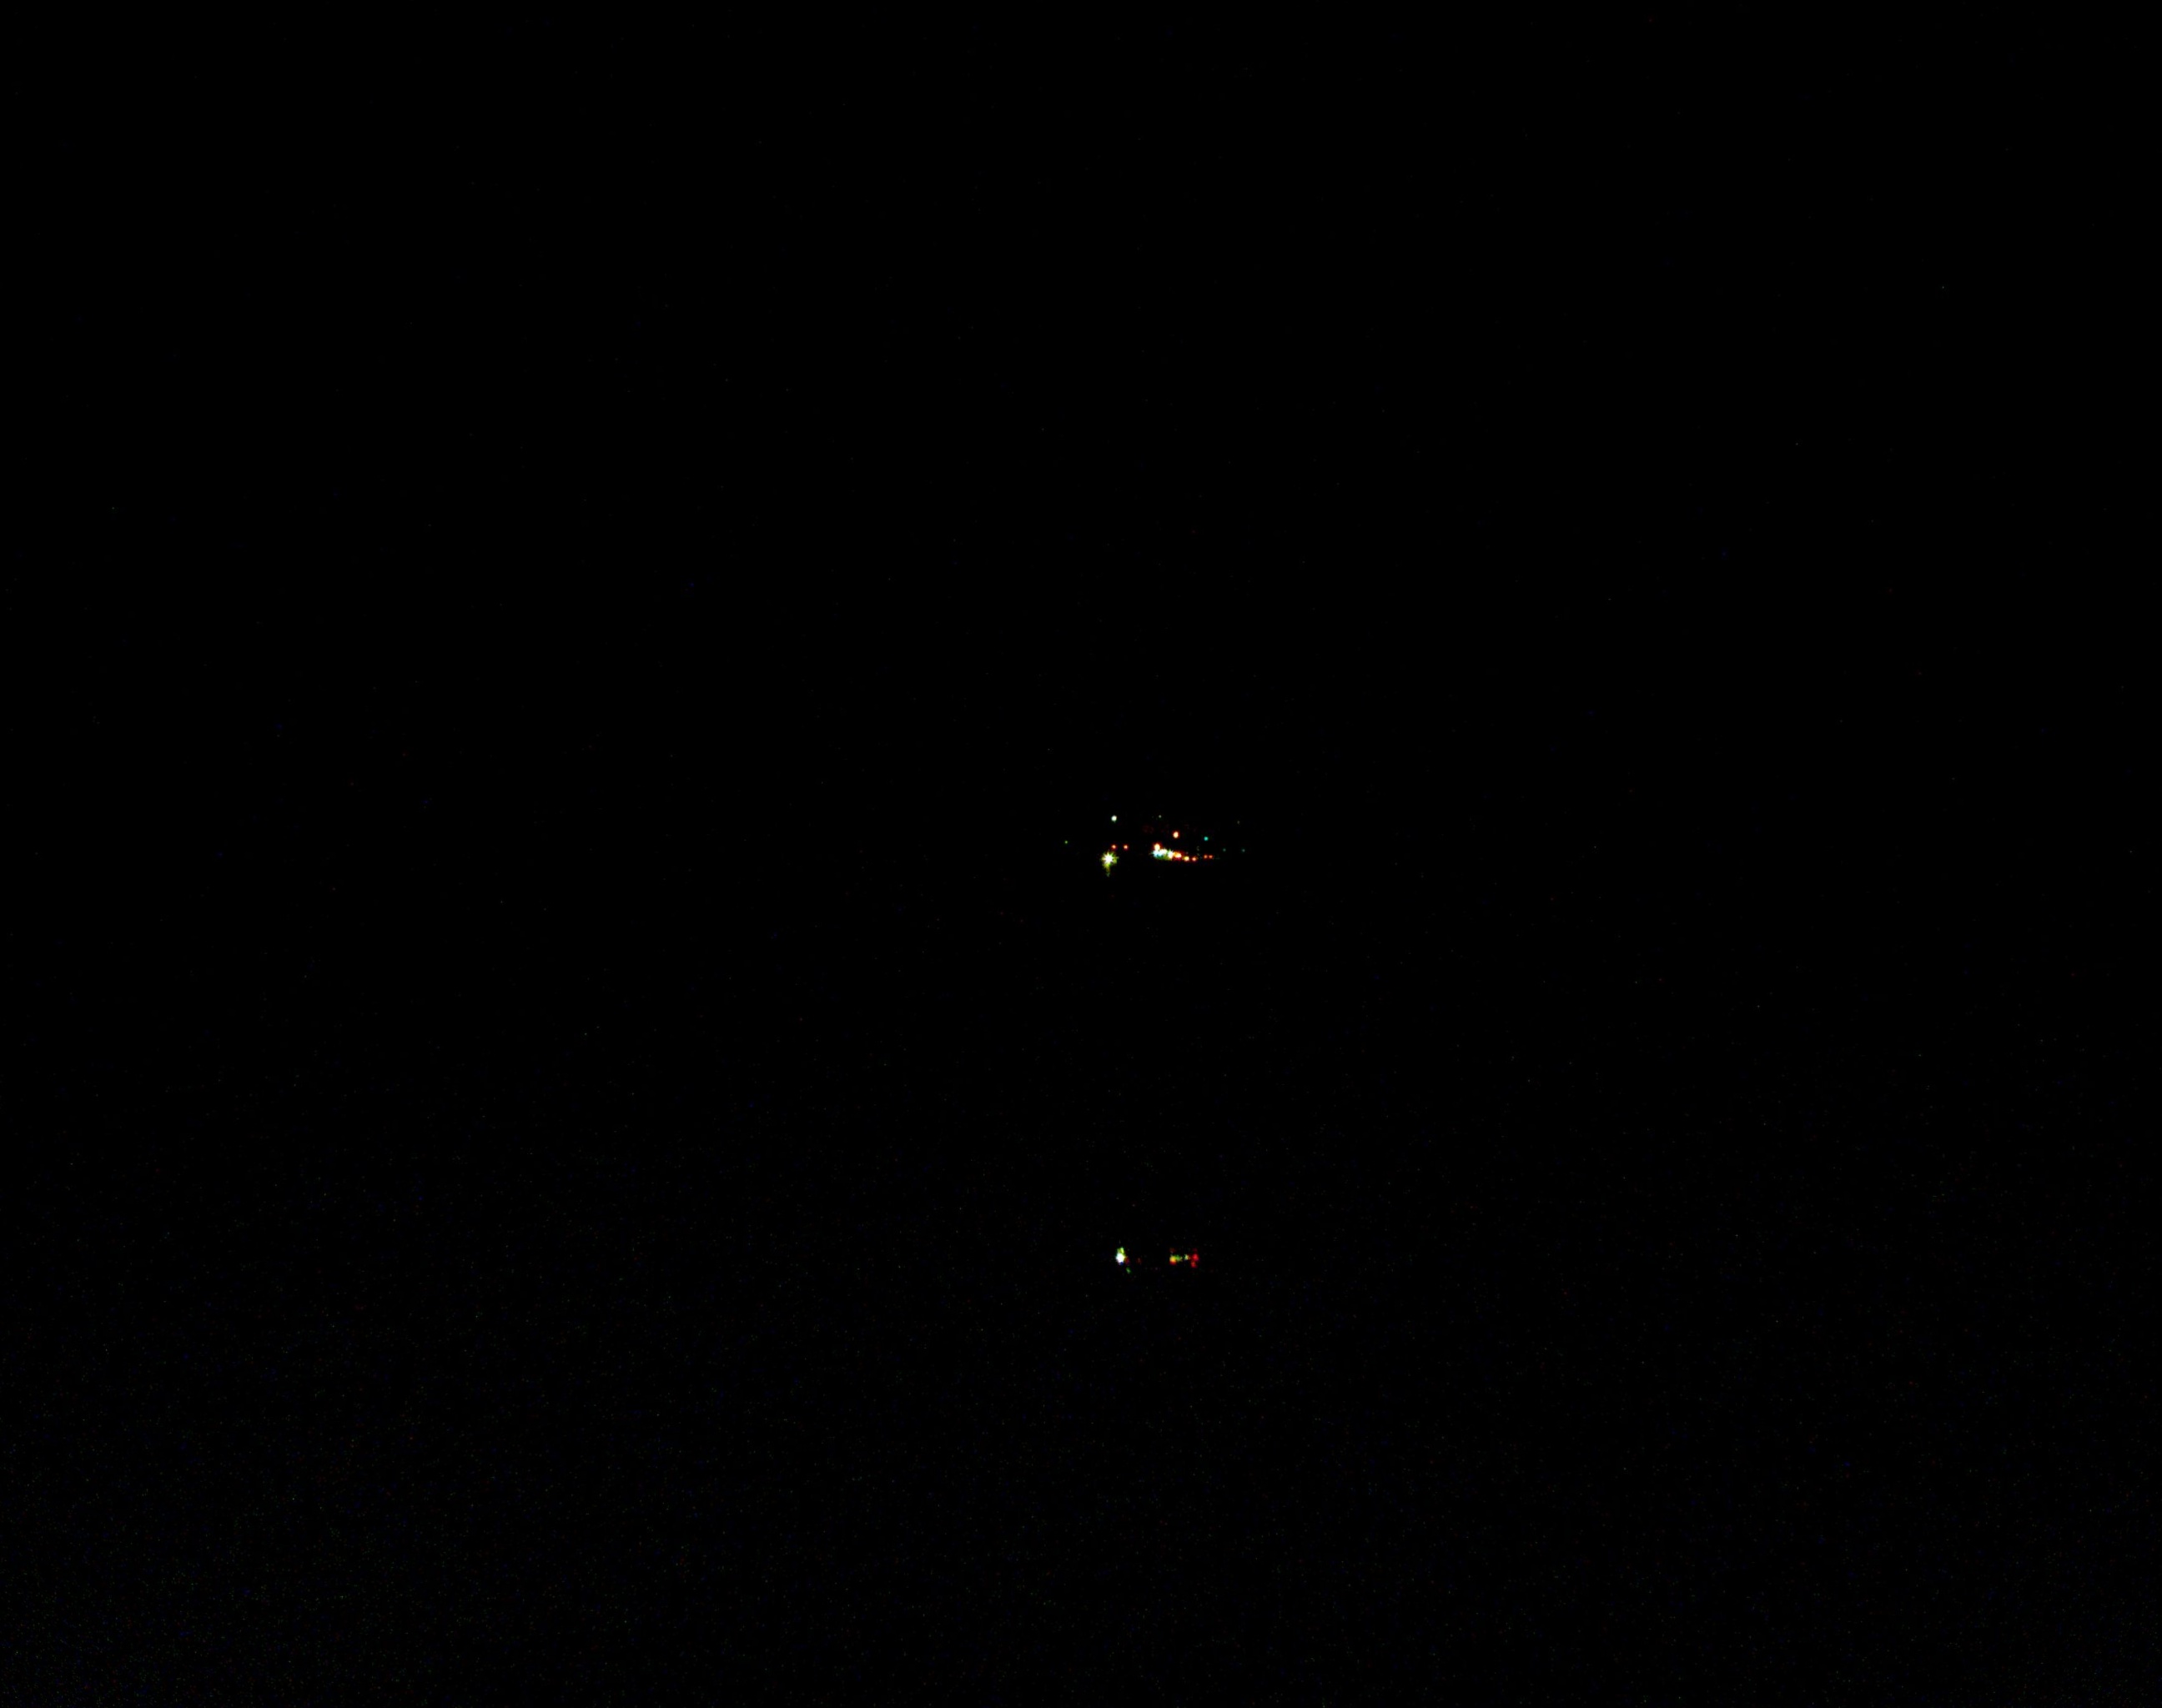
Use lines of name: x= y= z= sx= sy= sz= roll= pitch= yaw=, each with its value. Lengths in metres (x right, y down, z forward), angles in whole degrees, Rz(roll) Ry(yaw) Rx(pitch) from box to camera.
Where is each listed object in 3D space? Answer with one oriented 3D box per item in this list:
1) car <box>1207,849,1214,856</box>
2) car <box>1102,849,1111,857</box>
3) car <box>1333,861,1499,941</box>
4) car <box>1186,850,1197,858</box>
car: x=34.066 y=-0.409 z=199.934 sx=1.655 sy=1.467 sz=4.002 roll=-2 pitch=1 yaw=11
car: x=4.968 y=-0.185 z=147.504 sx=1.570 sy=1.336 sz=4.166 roll=-2 pitch=0 yaw=1
car: x=7.287 y=0.938 z=17.079 sx=1.724 sy=1.399 sz=4.574 roll=-2 pitch=1 yaw=1
car: x=20.817 y=-0.019 z=143.041 sx=1.723 sy=1.439 sz=4.384 roll=-2 pitch=1 yaw=11
